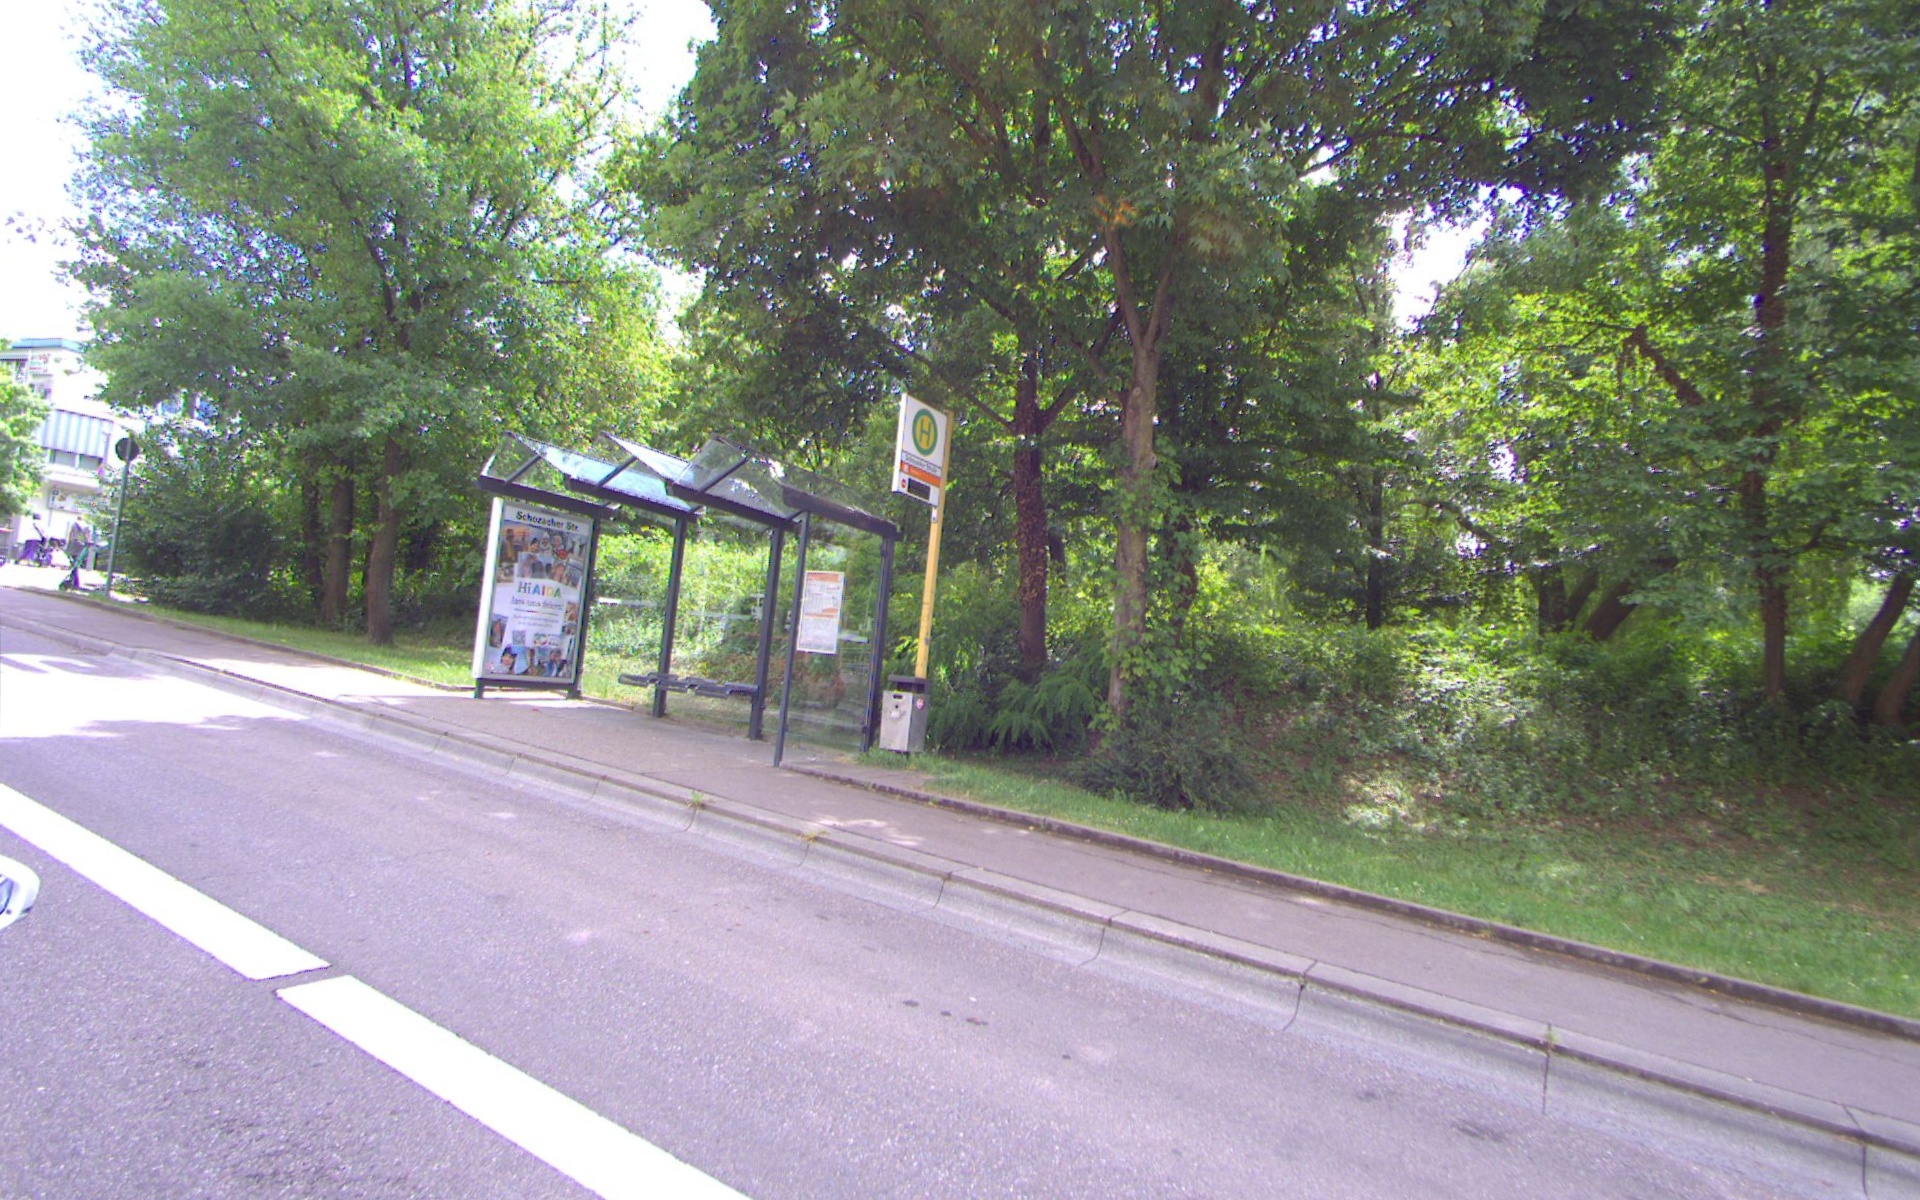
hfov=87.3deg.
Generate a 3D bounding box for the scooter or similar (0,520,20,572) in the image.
[{"bbox_3d":[-24.928,-1.460,25.664,0.546,1.286,1.153,6,-3,34],"label":"scooter or similar"}]

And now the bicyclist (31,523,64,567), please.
[{"bbox_3d":[-26.434,-1.587,29.142,0.393,1.170,0.502,6,-1,32],"label":"bicyclist"}]

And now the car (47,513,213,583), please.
[{"bbox_3d":[-32.915,-2.016,40.080,1.964,2.036,4.551,6,-2,24],"label":"car"}]

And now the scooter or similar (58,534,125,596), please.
[{"bbox_3d":[-20.144,-0.799,23.349,0.447,1.242,0.893,6,-6,32],"label":"scooter or similar"}]

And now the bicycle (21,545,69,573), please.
[{"bbox_3d":[-26.563,-1.188,29.191,1.564,0.616,0.534,6,-3,30],"label":"bicycle"}]

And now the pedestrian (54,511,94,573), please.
[{"bbox_3d":[-26.528,-1.730,30.138,0.653,1.733,0.458,8,-1,-32],"label":"pedestrian"}]
